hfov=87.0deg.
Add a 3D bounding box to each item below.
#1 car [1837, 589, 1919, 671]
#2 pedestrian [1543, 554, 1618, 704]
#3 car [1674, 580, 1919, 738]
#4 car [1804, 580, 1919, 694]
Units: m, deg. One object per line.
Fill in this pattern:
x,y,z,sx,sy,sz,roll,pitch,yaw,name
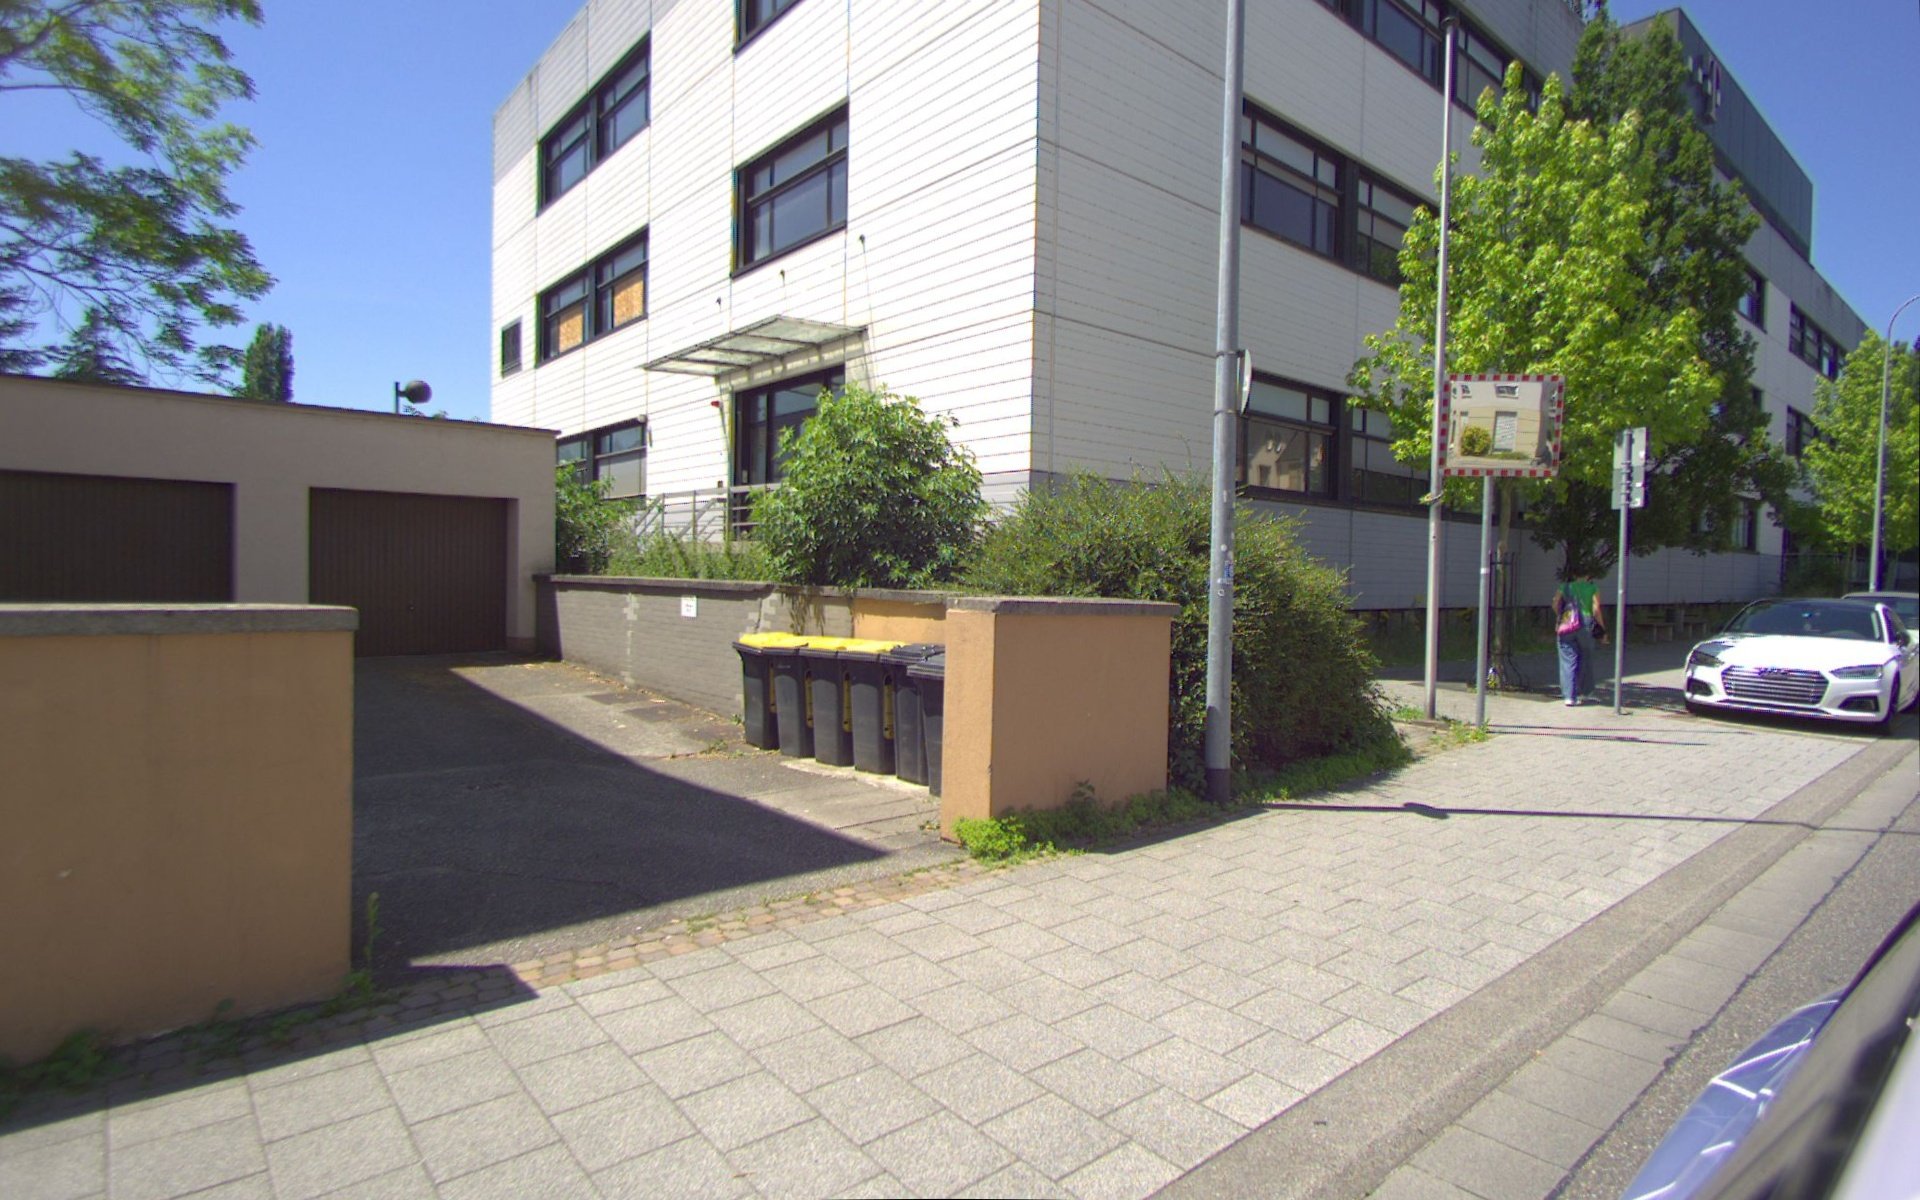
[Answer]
18.031,0.526,18.888,3.928,1.382,1.842,0,3,-39,car
7.574,0.317,12.347,0.676,1.720,1.038,3,3,33,pedestrian
10.475,0.555,12.230,4.795,1.487,1.919,0,3,-41,car
14.442,0.504,15.463,3.809,1.516,1.714,0,3,-41,car
